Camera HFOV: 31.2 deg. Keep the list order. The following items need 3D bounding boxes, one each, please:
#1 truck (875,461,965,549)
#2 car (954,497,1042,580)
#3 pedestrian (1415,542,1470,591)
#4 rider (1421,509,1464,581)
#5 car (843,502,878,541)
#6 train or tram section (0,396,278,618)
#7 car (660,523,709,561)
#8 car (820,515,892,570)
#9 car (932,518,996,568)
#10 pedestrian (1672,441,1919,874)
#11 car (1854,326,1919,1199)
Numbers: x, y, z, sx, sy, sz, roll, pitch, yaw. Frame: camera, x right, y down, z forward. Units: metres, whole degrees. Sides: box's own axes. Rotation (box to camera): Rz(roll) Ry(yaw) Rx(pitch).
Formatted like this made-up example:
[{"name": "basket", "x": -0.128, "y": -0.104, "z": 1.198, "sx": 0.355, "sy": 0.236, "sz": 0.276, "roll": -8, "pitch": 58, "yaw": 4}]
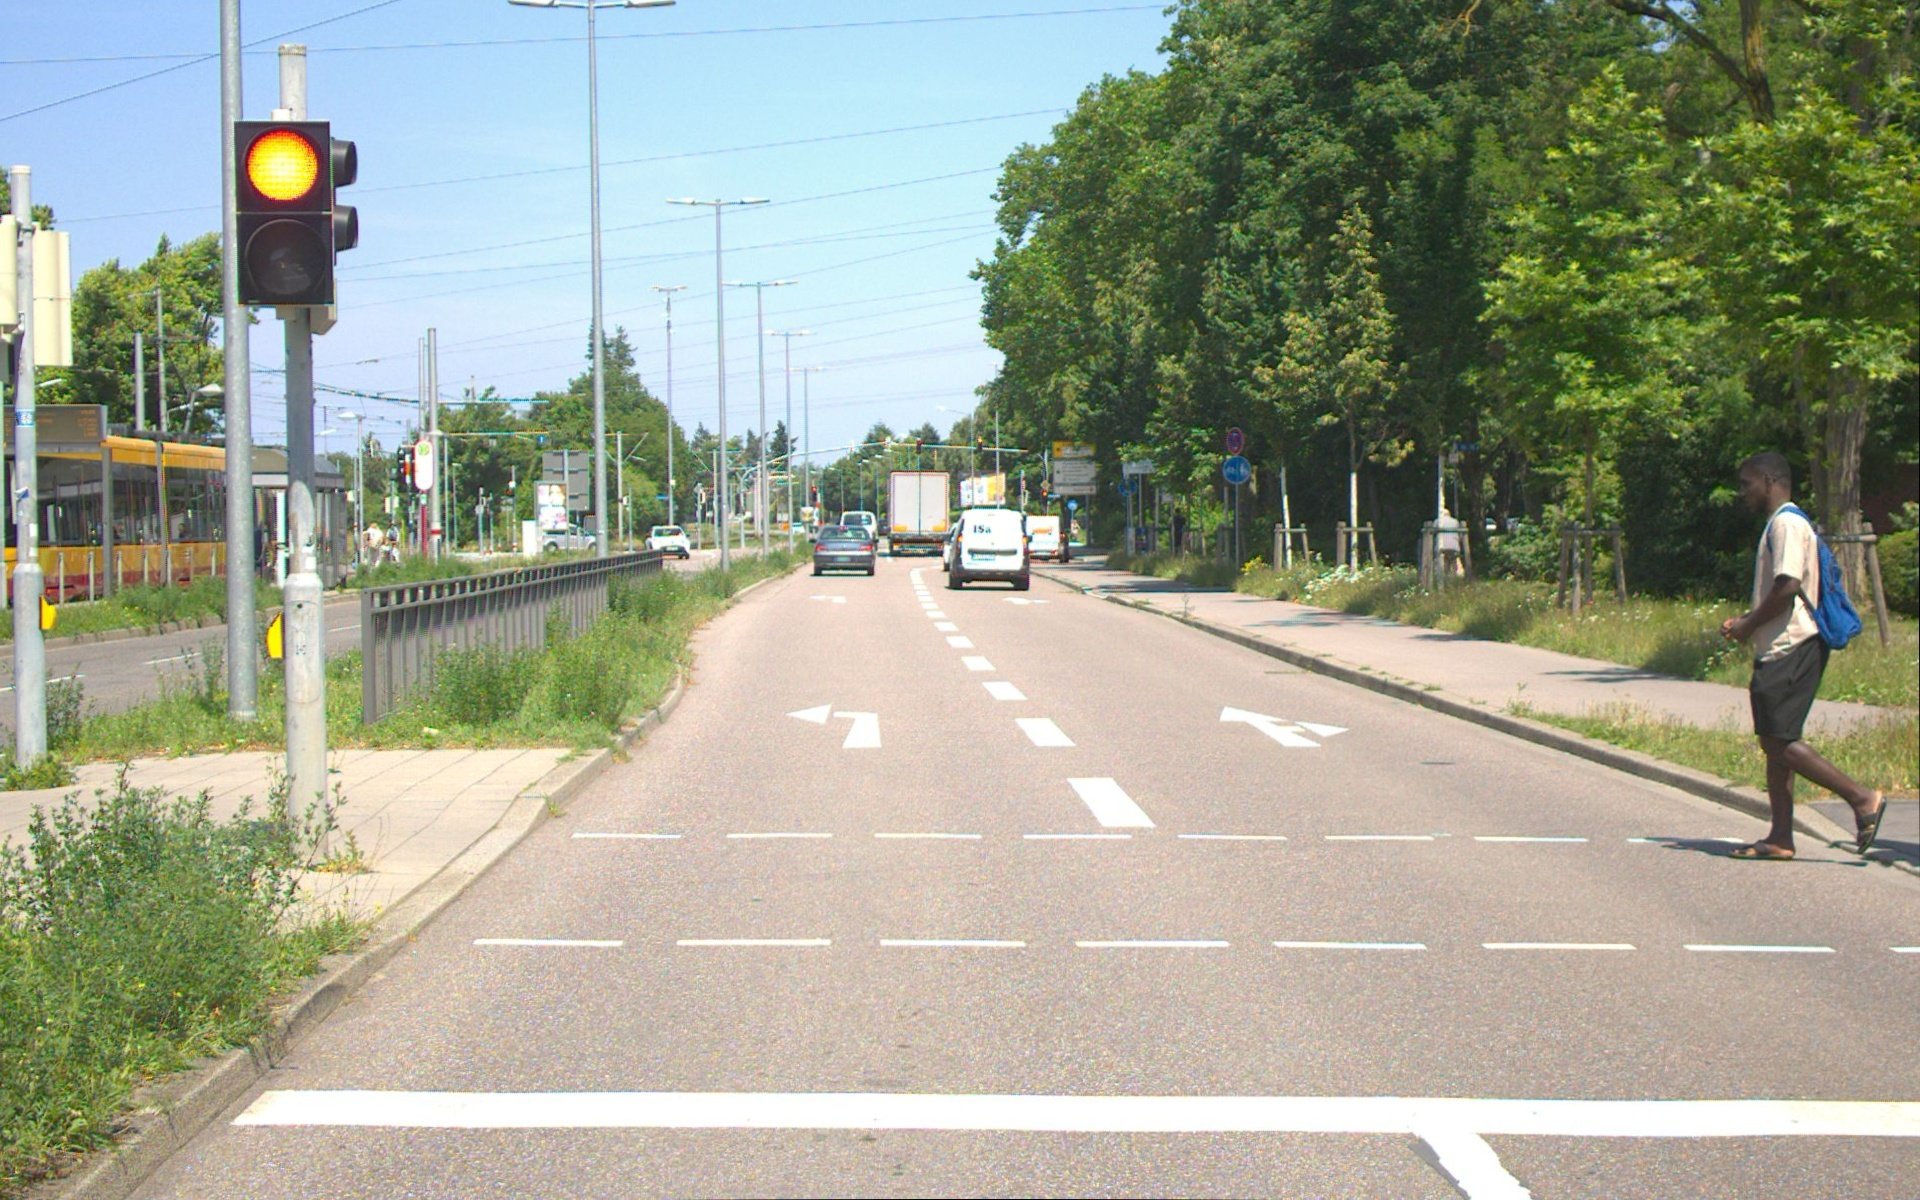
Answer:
[{"name": "truck", "x": -1.858, "y": -4.243, "z": 154.089, "sx": 3.899, "sy": 3.799, "sz": 10.794, "roll": 0, "pitch": 1, "yaw": -1}, {"name": "car", "x": 0.874, "y": -1.407, "z": 77.447, "sx": 1.728, "sy": 1.807, "sz": 4.000, "roll": 1, "pitch": 2, "yaw": 4}, {"name": "pedestrian", "x": 8.617, "y": -0.602, "z": 61.433, "sx": 0.678, "sy": 0.845, "sz": 1.774, "roll": 0, "pitch": 1, "yaw": -1}, {"name": "rider", "x": 8.612, "y": -0.978, "z": 61.408, "sx": 0.678, "sy": 1.277, "sz": 0.534, "roll": 0, "pitch": 1, "yaw": -1}, {"name": "car", "x": -4.931, "y": -3.897, "z": 170.140, "sx": 1.687, "sy": 1.891, "sz": 3.871, "roll": 0, "pitch": 1, "yaw": -1}, {"name": "train or tram section", "x": -17.484, "y": -1.819, "z": 69.457, "sx": 2.787, "sy": 3.655, "sz": 26.002, "roll": 0, "pitch": 1, "yaw": -1}, {"name": "car", "x": -12.389, "y": -2.620, "z": 154.784, "sx": 1.993, "sy": 1.644, "sz": 4.001, "roll": 0, "pitch": 1, "yaw": -1}, {"name": "car", "x": -2.868, "y": -1.604, "z": 95.395, "sx": 1.802, "sy": 1.481, "sz": 4.000, "roll": 0, "pitch": 1, "yaw": 1}, {"name": "car", "x": 0.107, "y": -1.772, "z": 106.201, "sx": 1.803, "sy": 1.534, "sz": 4.001, "roll": 0, "pitch": 1, "yaw": -2}, {"name": "pedestrian", "x": 3.693, "y": 0.233, "z": 15.141, "sx": 1.047, "sy": 1.844, "sz": 0.757, "roll": 1, "pitch": 1, "yaw": 14}, {"name": "car", "x": 2.785, "y": 0.461, "z": 4.849, "sx": 1.824, "sy": 1.875, "sz": 4.456, "roll": 1, "pitch": 1, "yaw": 0}]
